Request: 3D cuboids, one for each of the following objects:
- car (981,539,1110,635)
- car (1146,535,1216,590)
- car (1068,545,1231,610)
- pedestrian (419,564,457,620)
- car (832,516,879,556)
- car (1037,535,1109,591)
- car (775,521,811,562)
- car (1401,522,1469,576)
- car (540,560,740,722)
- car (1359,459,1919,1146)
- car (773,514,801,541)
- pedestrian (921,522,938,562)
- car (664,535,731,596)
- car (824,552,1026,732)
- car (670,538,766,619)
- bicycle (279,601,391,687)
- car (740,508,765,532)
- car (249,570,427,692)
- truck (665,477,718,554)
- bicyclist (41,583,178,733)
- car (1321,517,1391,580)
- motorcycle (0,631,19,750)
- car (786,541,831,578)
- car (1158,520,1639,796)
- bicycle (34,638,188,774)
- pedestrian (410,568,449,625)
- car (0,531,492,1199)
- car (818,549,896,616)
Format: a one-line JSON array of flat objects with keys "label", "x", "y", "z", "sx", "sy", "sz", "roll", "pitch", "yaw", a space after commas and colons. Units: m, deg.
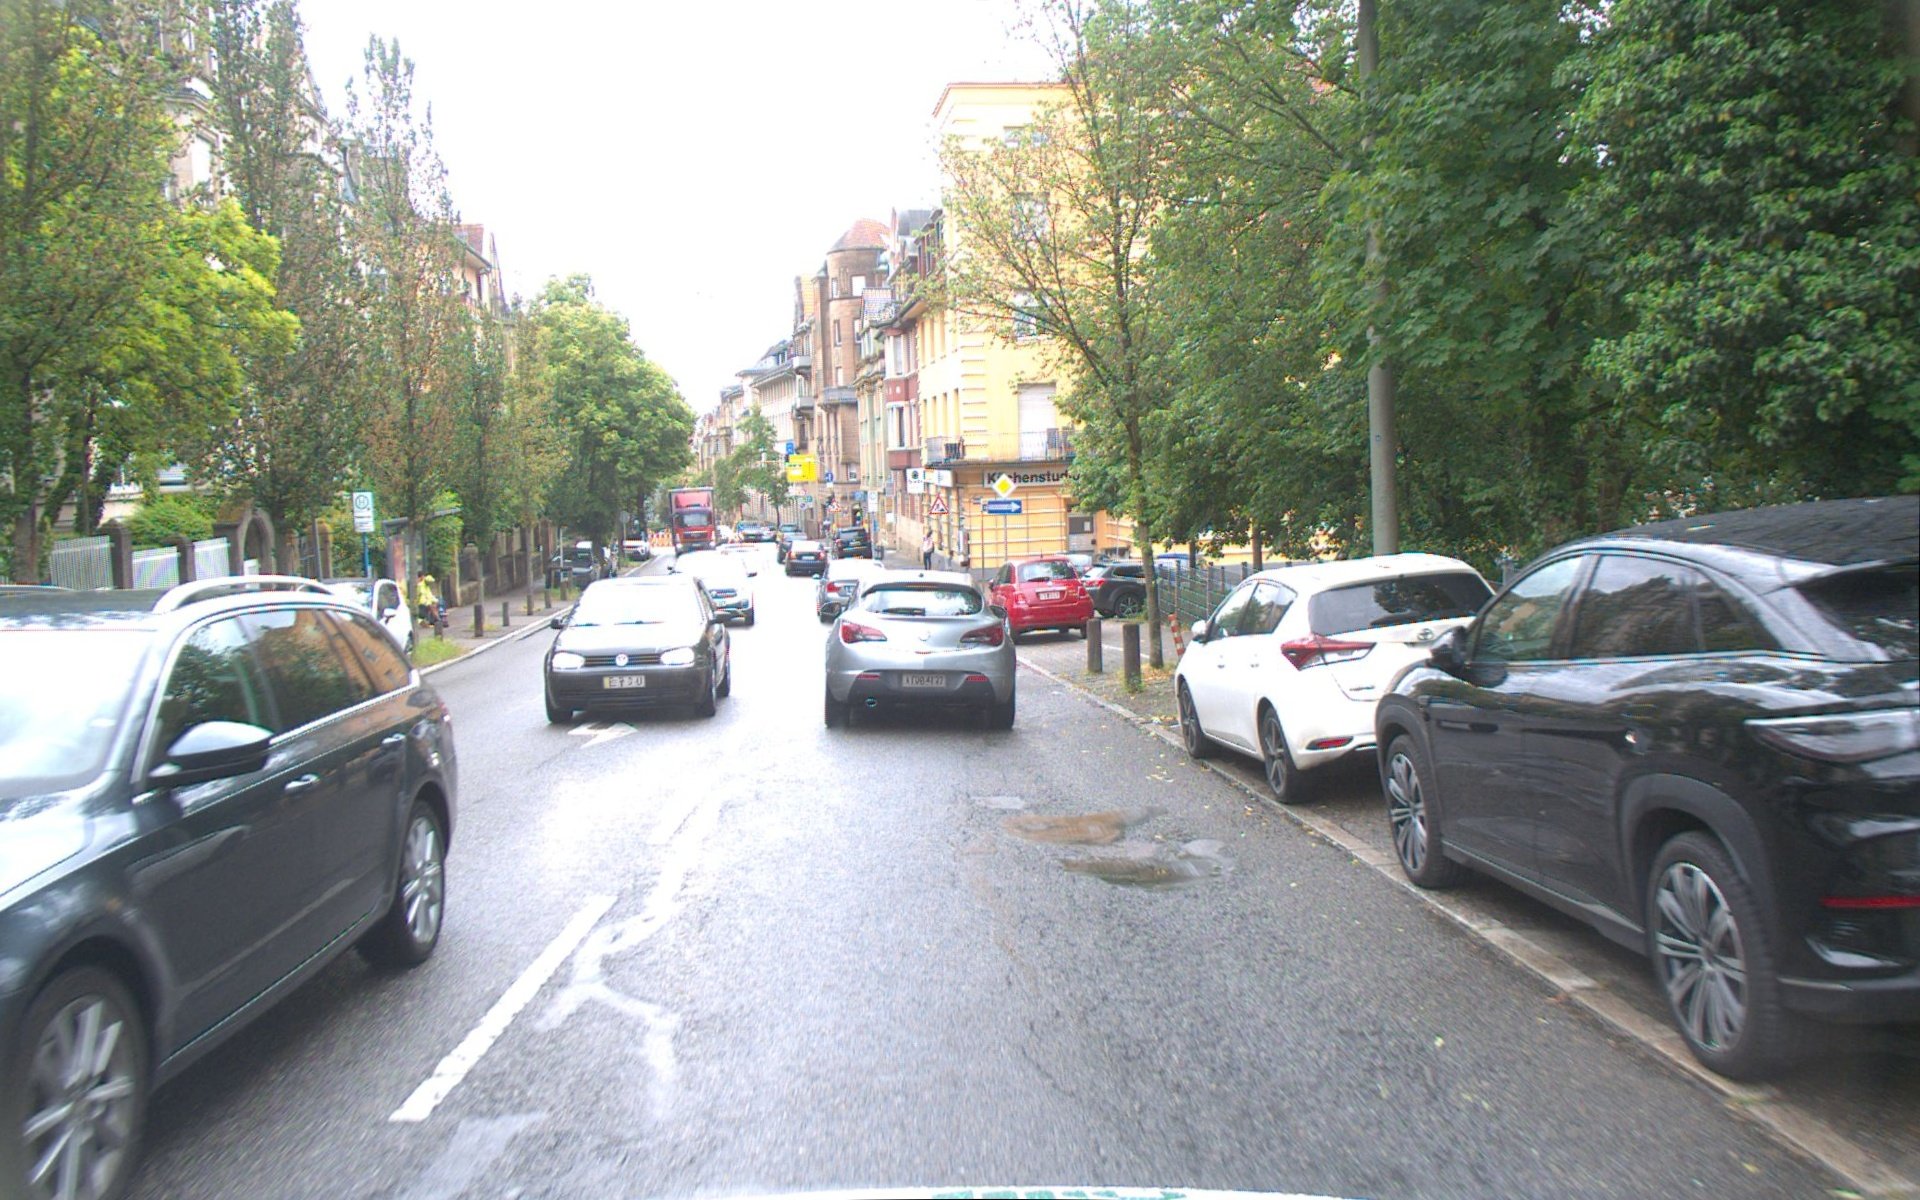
[{"label": "car", "x": 1.539, "y": -0.273, "z": 31.196, "sx": 1.780, "sy": 1.492, "sz": 3.996, "roll": -7, "pitch": 2, "yaw": -5}, {"label": "car", "x": 6.716, "y": -1.165, "z": 49.966, "sx": 1.738, "sy": 1.454, "sz": 3.791, "roll": 0, "pitch": 4, "yaw": 13}, {"label": "car", "x": 4.695, "y": -0.557, "z": 41.237, "sx": 3.702, "sy": 1.454, "sz": 1.779, "roll": 2, "pitch": 0, "yaw": -8}, {"label": "pedestrian", "x": -13.539, "y": -0.211, "z": 42.918, "sx": 0.693, "sy": 1.365, "sz": 0.613, "roll": -6, "pitch": 2, "yaw": -4}, {"label": "car", "x": -5.207, "y": -3.162, "z": 81.995, "sx": 1.957, "sy": 1.717, "sz": 3.996, "roll": -8, "pitch": 2, "yaw": -5}, {"label": "car", "x": 3.341, "y": -1.103, "z": 48.221, "sx": 1.738, "sy": 1.454, "sz": 3.790, "roll": 0, "pitch": 4, "yaw": 9}, {"label": "car", "x": -8.222, "y": -2.895, "z": 81.066, "sx": 1.609, "sy": 1.717, "sz": 3.714, "roll": -3, "pitch": 6, "yaw": -7}, {"label": "car", "x": 14.479, "y": -1.576, "z": 50.318, "sx": 1.739, "sy": 1.454, "sz": 3.788, "roll": 0, "pitch": 4, "yaw": 20}, {"label": "car", "x": -3.349, "y": 0.354, "z": 17.938, "sx": 1.628, "sy": 1.473, "sz": 3.990, "roll": -3, "pitch": 1, "yaw": -5}, {"label": "car", "x": 3.120, "y": 0.366, "z": 6.169, "sx": 1.937, "sy": 1.636, "sz": 4.483, "roll": -5, "pitch": 1, "yaw": -2}, {"label": "car", "x": -10.731, "y": -4.467, "z": 102.576, "sx": 1.609, "sy": 1.563, "sz": 3.711, "roll": -2, "pitch": 2, "yaw": -7}, {"label": "pedestrian", "x": -1.211, "y": -2.281, "z": 65.294, "sx": 0.601, "sy": 1.522, "sz": 0.552, "roll": -2, "pitch": 4, "yaw": -4}, {"label": "car", "x": -7.822, "y": -1.066, "z": 49.527, "sx": 1.590, "sy": 1.679, "sz": 3.142, "roll": -4, "pitch": 2, "yaw": -3}, {"label": "car", "x": -0.400, "y": 0.317, "z": 16.844, "sx": 1.778, "sy": 1.454, "sz": 3.999, "roll": -2, "pitch": 3, "yaw": -3}, {"label": "car", "x": -5.599, "y": -0.553, "z": 38.666, "sx": 1.787, "sy": 1.679, "sz": 3.998, "roll": -4, "pitch": 2, "yaw": -3}, {"label": "bicycle", "x": -9.563, "y": 0.661, "z": 25.336, "sx": 1.437, "sy": 1.139, "sz": 0.380, "roll": -6, "pitch": 3, "yaw": -10}, {"label": "car", "x": -17.924, "y": -6.880, "z": 142.773, "sx": 1.751, "sy": 1.887, "sz": 3.988, "roll": -2, "pitch": 1, "yaw": -12}, {"label": "car", "x": -10.374, "y": 0.442, "z": 27.891, "sx": 1.755, "sy": 1.679, "sz": 4.189, "roll": -6, "pitch": 2, "yaw": -8}, {"label": "truck", "x": -15.996, "y": -5.173, "z": 98.806, "sx": 2.738, "sy": 4.202, "sz": 10.835, "roll": -3, "pitch": 5, "yaw": -8}, {"label": "bicyclist", "x": -7.458, "y": 0.483, "z": 14.553, "sx": 0.757, "sy": 1.189, "sz": 1.079, "roll": -4, "pitch": 2, "yaw": -14}, {"label": "car", "x": 11.879, "y": -1.571, "z": 49.501, "sx": 1.739, "sy": 1.695, "sz": 3.789, "roll": 0, "pitch": 4, "yaw": 18}, {"label": "motorcycle", "x": -9.603, "y": 0.917, "z": 15.620, "sx": 0.641, "sy": 1.141, "sz": 2.147, "roll": -1, "pitch": 2, "yaw": -13}, {"label": "car", "x": -6.305, "y": -1.696, "z": 68.485, "sx": 1.734, "sy": 1.439, "sz": 3.712, "roll": 0, "pitch": 3, "yaw": -7}, {"label": "car", "x": 2.876, "y": 0.309, "z": 11.896, "sx": 1.938, "sy": 1.477, "sz": 4.109, "roll": -5, "pitch": 1, "yaw": -6}, {"label": "bicycle", "x": -7.423, "y": 0.885, "z": 14.566, "sx": 0.641, "sy": 0.999, "sz": 2.147, "roll": -4, "pitch": 1, "yaw": -13}, {"label": "pedestrian", "x": -13.557, "y": -0.086, "z": 42.294, "sx": 0.693, "sy": 1.365, "sz": 0.613, "roll": -6, "pitch": 2, "yaw": -4}, {"label": "car", "x": -2.783, "y": 0.611, "z": 4.808, "sx": 1.703, "sy": 1.499, "sz": 4.280, "roll": -3, "pitch": 2, "yaw": -2}, {"label": "car", "x": -2.455, "y": -0.439, "z": 38.765, "sx": 1.741, "sy": 1.454, "sz": 3.782, "roll": -1, "pitch": 1, "yaw": -5}]
